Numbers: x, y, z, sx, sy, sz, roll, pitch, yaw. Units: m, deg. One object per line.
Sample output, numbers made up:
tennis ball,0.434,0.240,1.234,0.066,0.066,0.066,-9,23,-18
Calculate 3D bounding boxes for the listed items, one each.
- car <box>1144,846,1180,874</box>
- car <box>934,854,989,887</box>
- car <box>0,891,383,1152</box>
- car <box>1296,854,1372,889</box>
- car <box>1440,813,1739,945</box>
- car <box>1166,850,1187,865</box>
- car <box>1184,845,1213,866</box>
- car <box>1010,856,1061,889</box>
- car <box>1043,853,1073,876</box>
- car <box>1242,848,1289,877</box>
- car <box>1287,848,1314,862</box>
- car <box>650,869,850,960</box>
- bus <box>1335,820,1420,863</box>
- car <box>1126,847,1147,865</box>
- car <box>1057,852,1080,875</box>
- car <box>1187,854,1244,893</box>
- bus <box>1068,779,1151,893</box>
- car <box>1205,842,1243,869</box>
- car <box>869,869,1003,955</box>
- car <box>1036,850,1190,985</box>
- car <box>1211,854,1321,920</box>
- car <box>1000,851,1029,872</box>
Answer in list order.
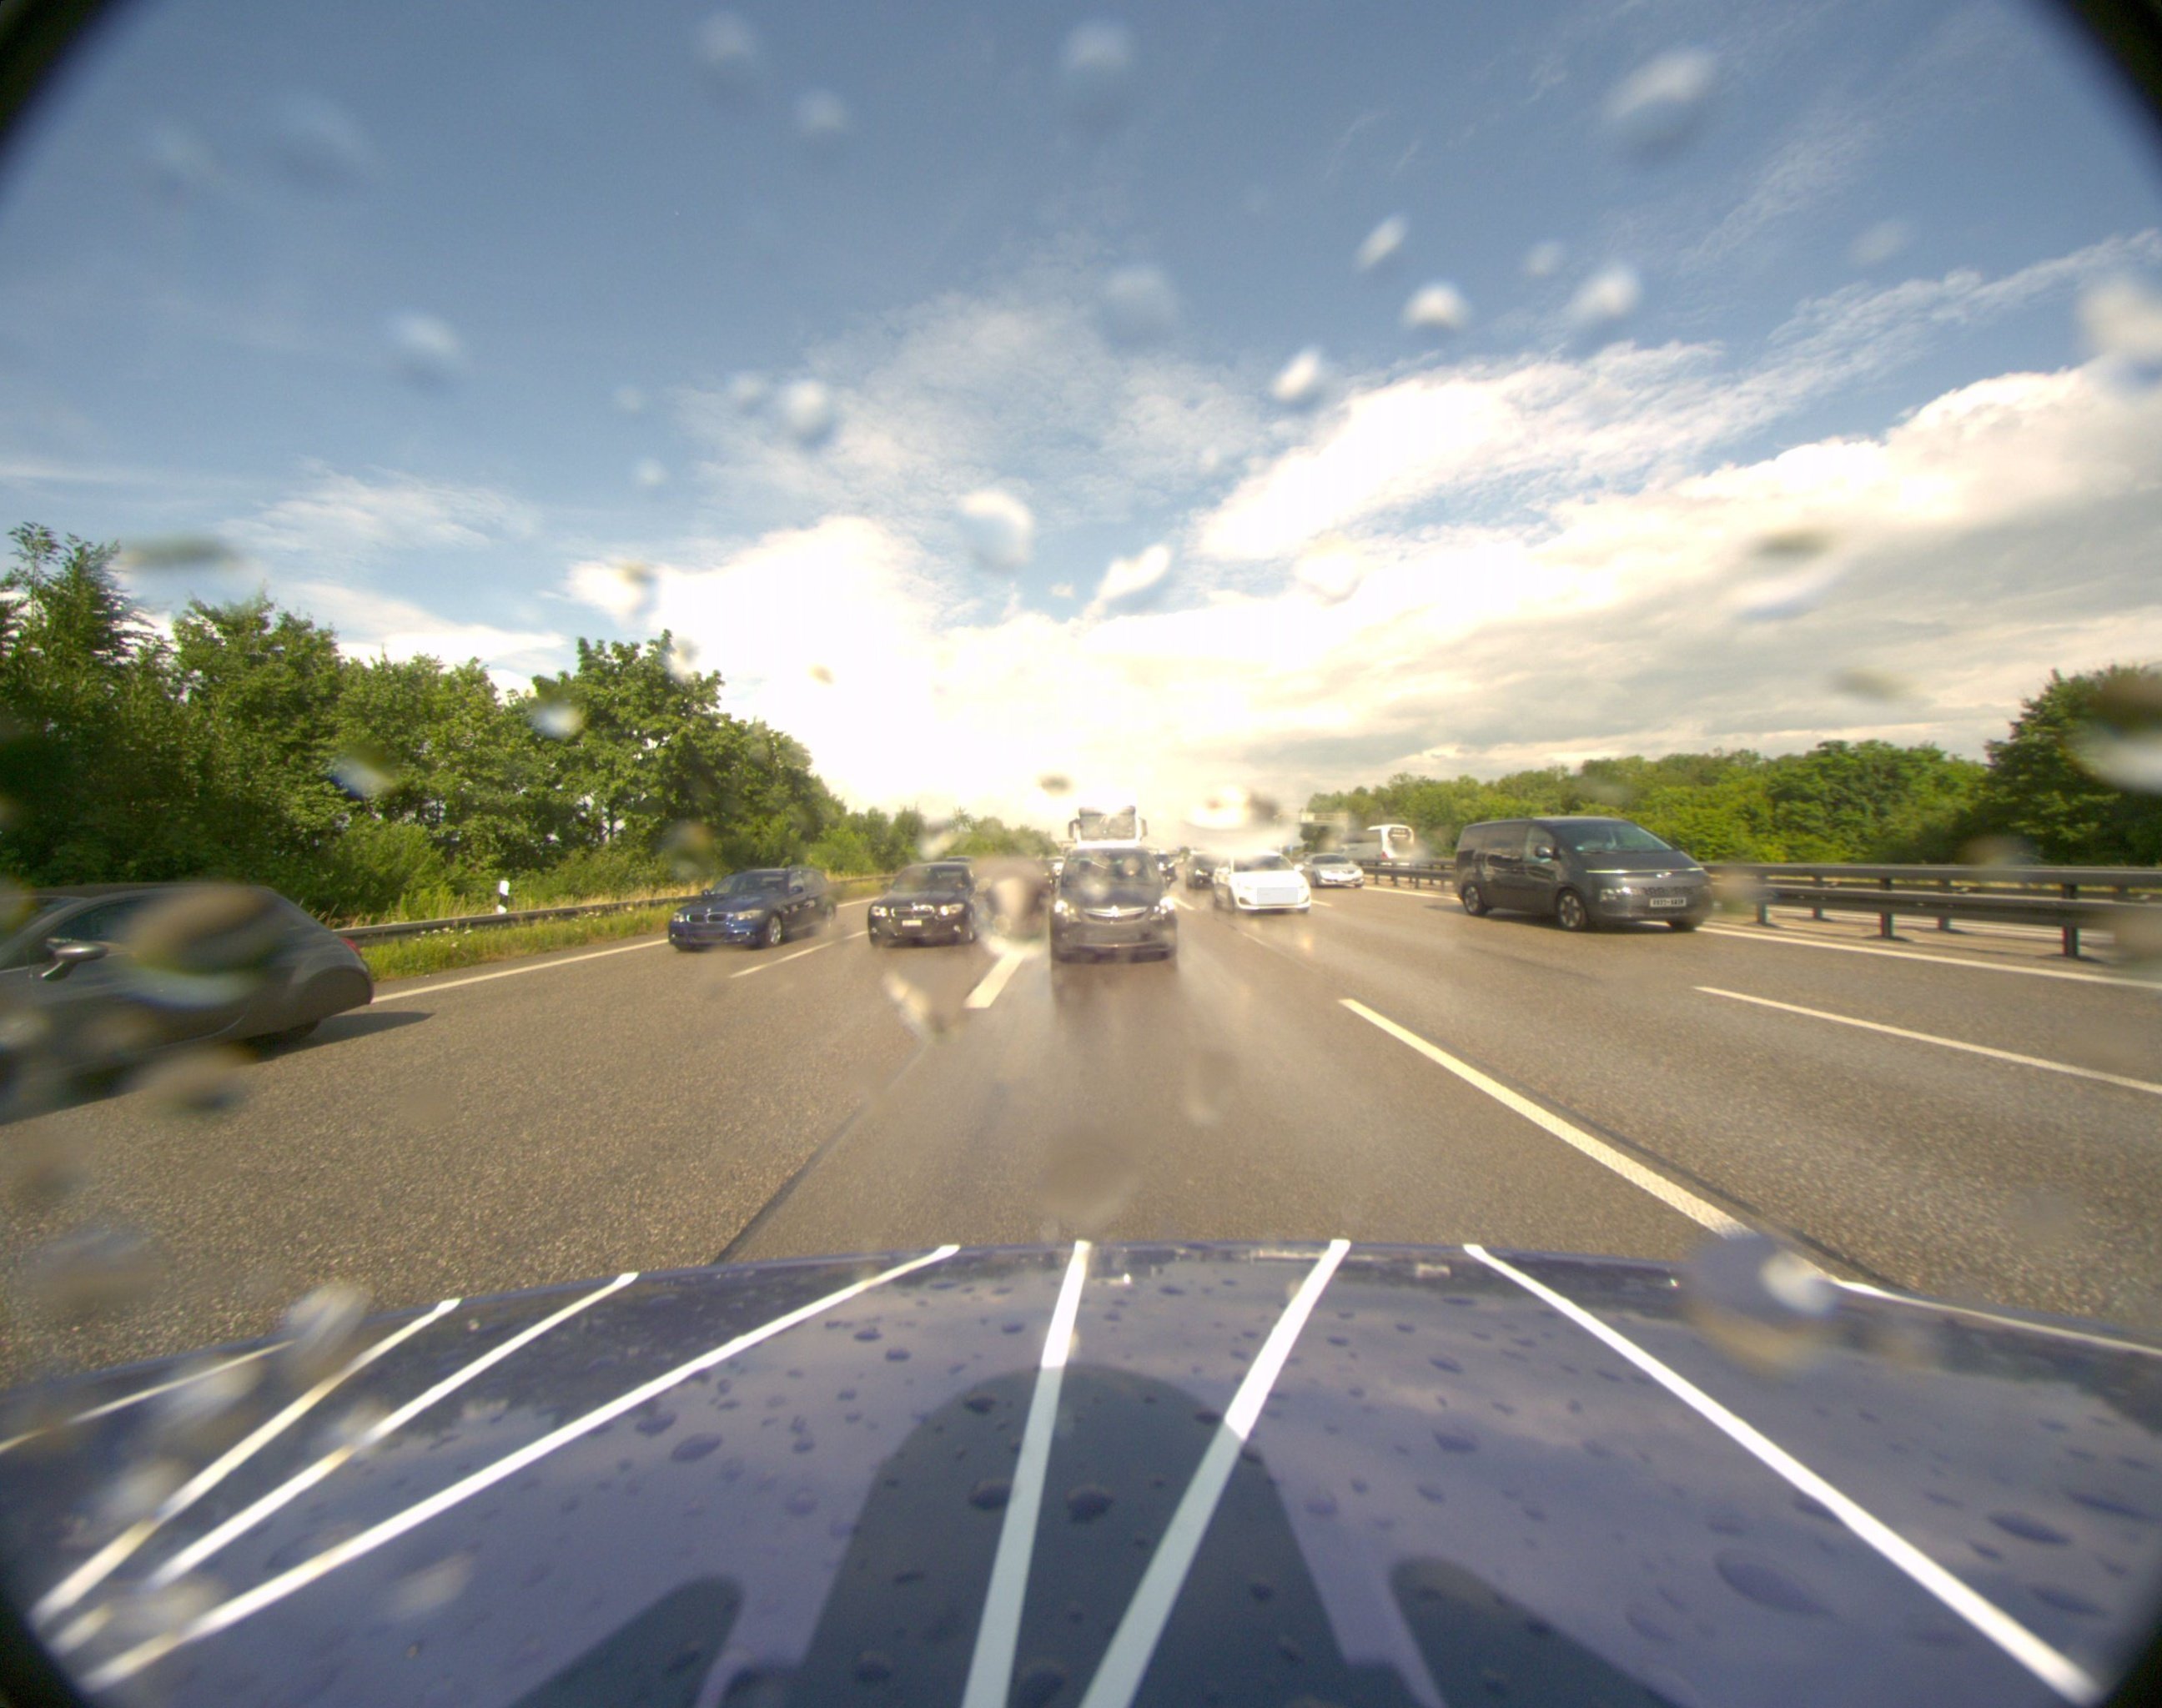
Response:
car,5.272,0.357,49.788,1.889,1.707,4.000,-2,1,0
car,-5.865,0.788,37.828,1.998,1.481,4.249,-2,0,0
car,-7.518,1.123,5.514,1.616,1.480,3.481,-2,1,0
car,9.522,0.613,28.890,1.856,1.182,3.583,-2,0,3
car,8.767,0.353,13.871,1.998,1.906,5.236,-2,0,1
car,11.209,0.373,89.390,1.900,1.740,4.000,-2,1,0
car,10.290,0.143,66.696,1.900,1.740,4.000,-2,1,0
car,-2.080,0.828,35.787,1.743,1.357,4.001,-2,0,5
car,-1.556,0.688,51.810,1.858,1.434,4.000,-2,0,0
car,9.666,0.416,40.094,1.618,1.412,4.000,-2,0,2
car,20.924,0.065,72.504,1.654,1.302,3.523,-2,0,4
car,-6.223,1.059,14.969,1.771,1.343,4.580,-2,0,2
bus,25.687,-1.038,66.656,2.898,3.354,12.471,-2,0,2
car,5.750,0.177,78.776,1.900,1.740,4.000,-2,1,0
car,-0.978,0.764,62.432,1.713,1.792,3.539,-2,1,0
car,5.252,0.721,30.145,1.597,1.390,4.000,-2,0,1
bus,1.214,-0.679,32.836,2.904,4.104,9.845,-2,0,2
car,10.120,0.090,54.072,1.900,1.740,4.000,-2,1,0
car,-2.668,1.034,14.884,1.722,1.346,3.884,-2,0,2
car,0.470,0.772,11.762,1.858,1.622,4.736,-2,0,2
car,4.377,0.717,18.649,1.809,1.389,4.240,-1,0,2
car,-5.385,0.589,61.901,1.867,1.565,4.000,-2,0,0
